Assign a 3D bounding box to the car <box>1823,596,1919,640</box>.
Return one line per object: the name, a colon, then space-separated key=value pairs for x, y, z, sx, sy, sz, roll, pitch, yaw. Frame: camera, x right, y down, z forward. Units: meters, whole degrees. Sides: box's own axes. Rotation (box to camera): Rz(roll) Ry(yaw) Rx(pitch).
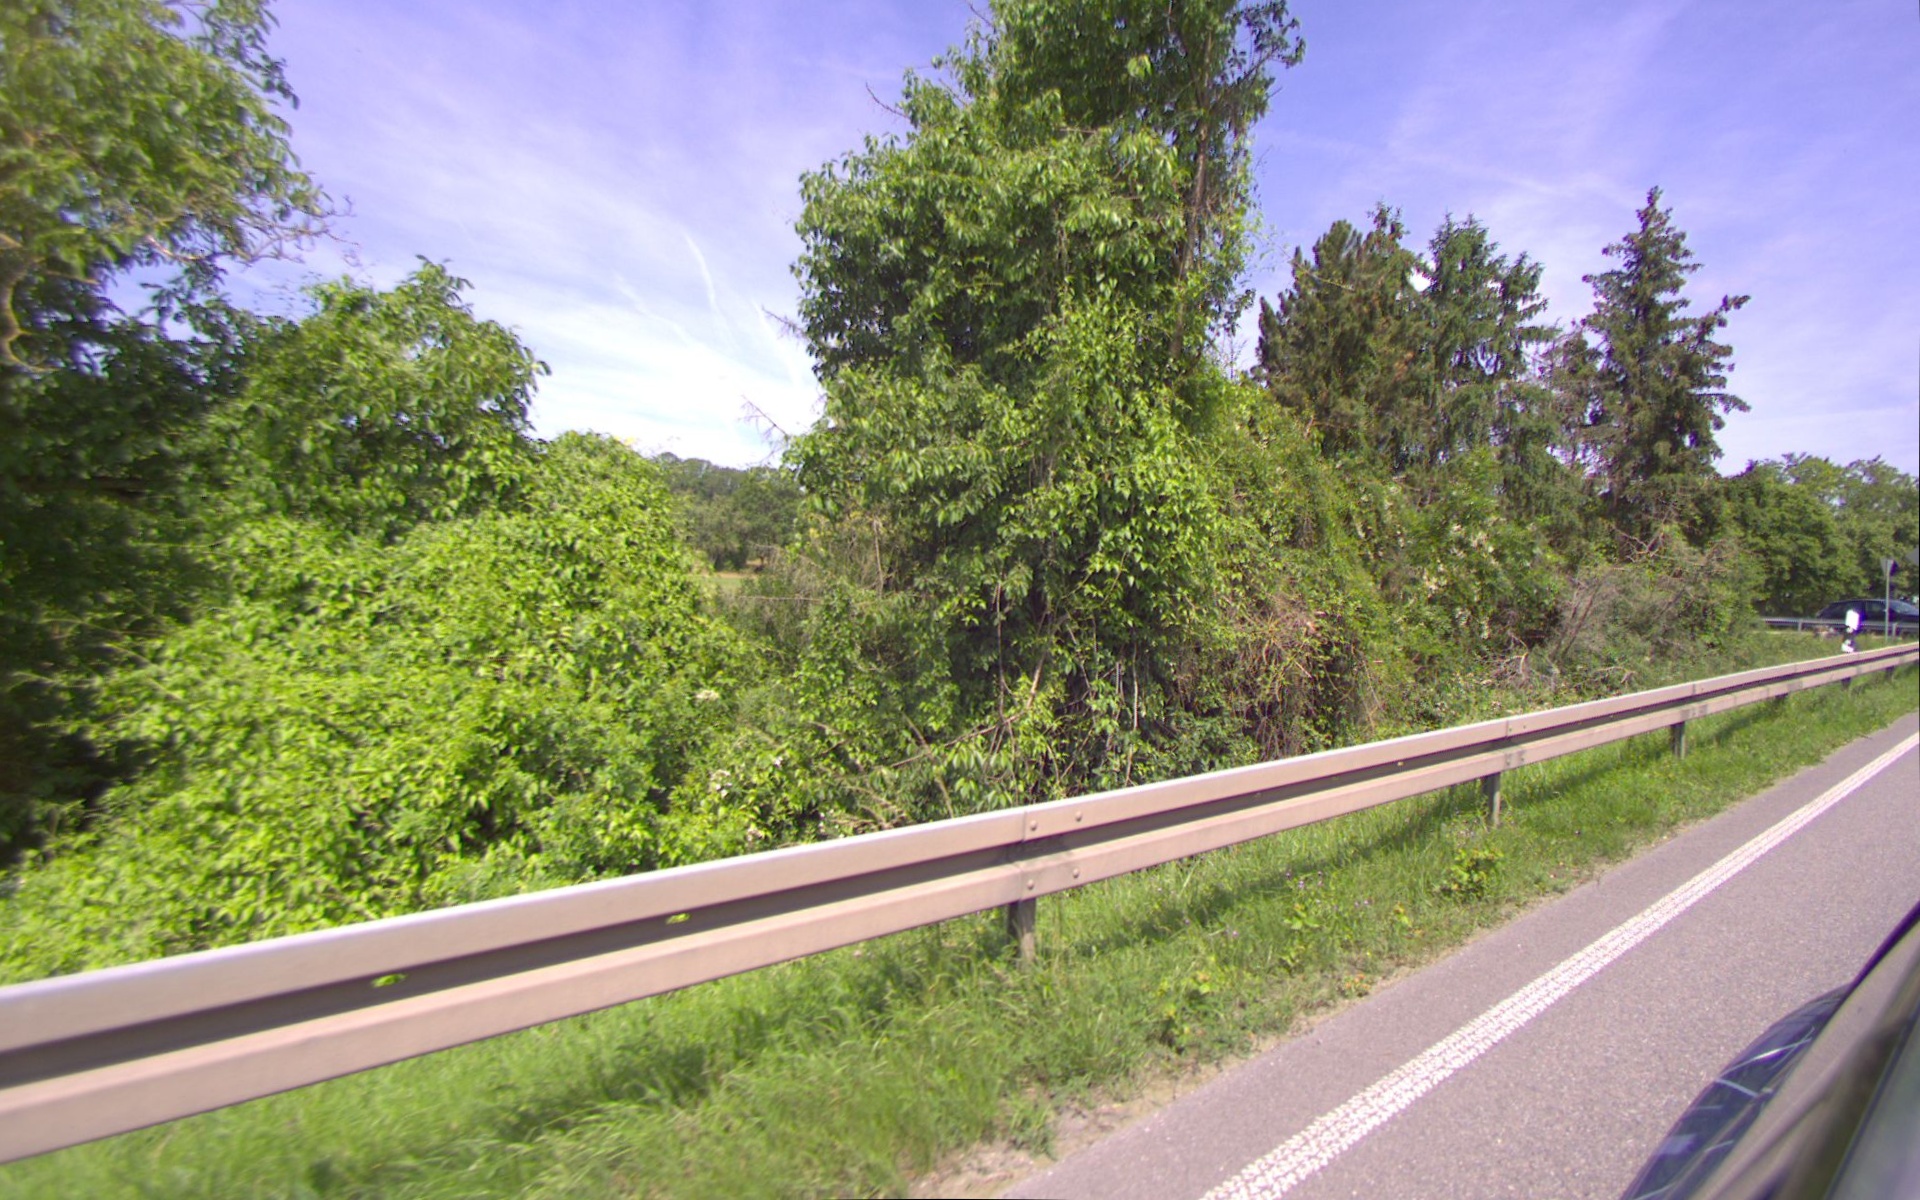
car: x=36.137 y=0.690 z=38.682 sx=2.021 sy=1.610 sz=4.438 roll=1 pitch=0 yaw=-13
